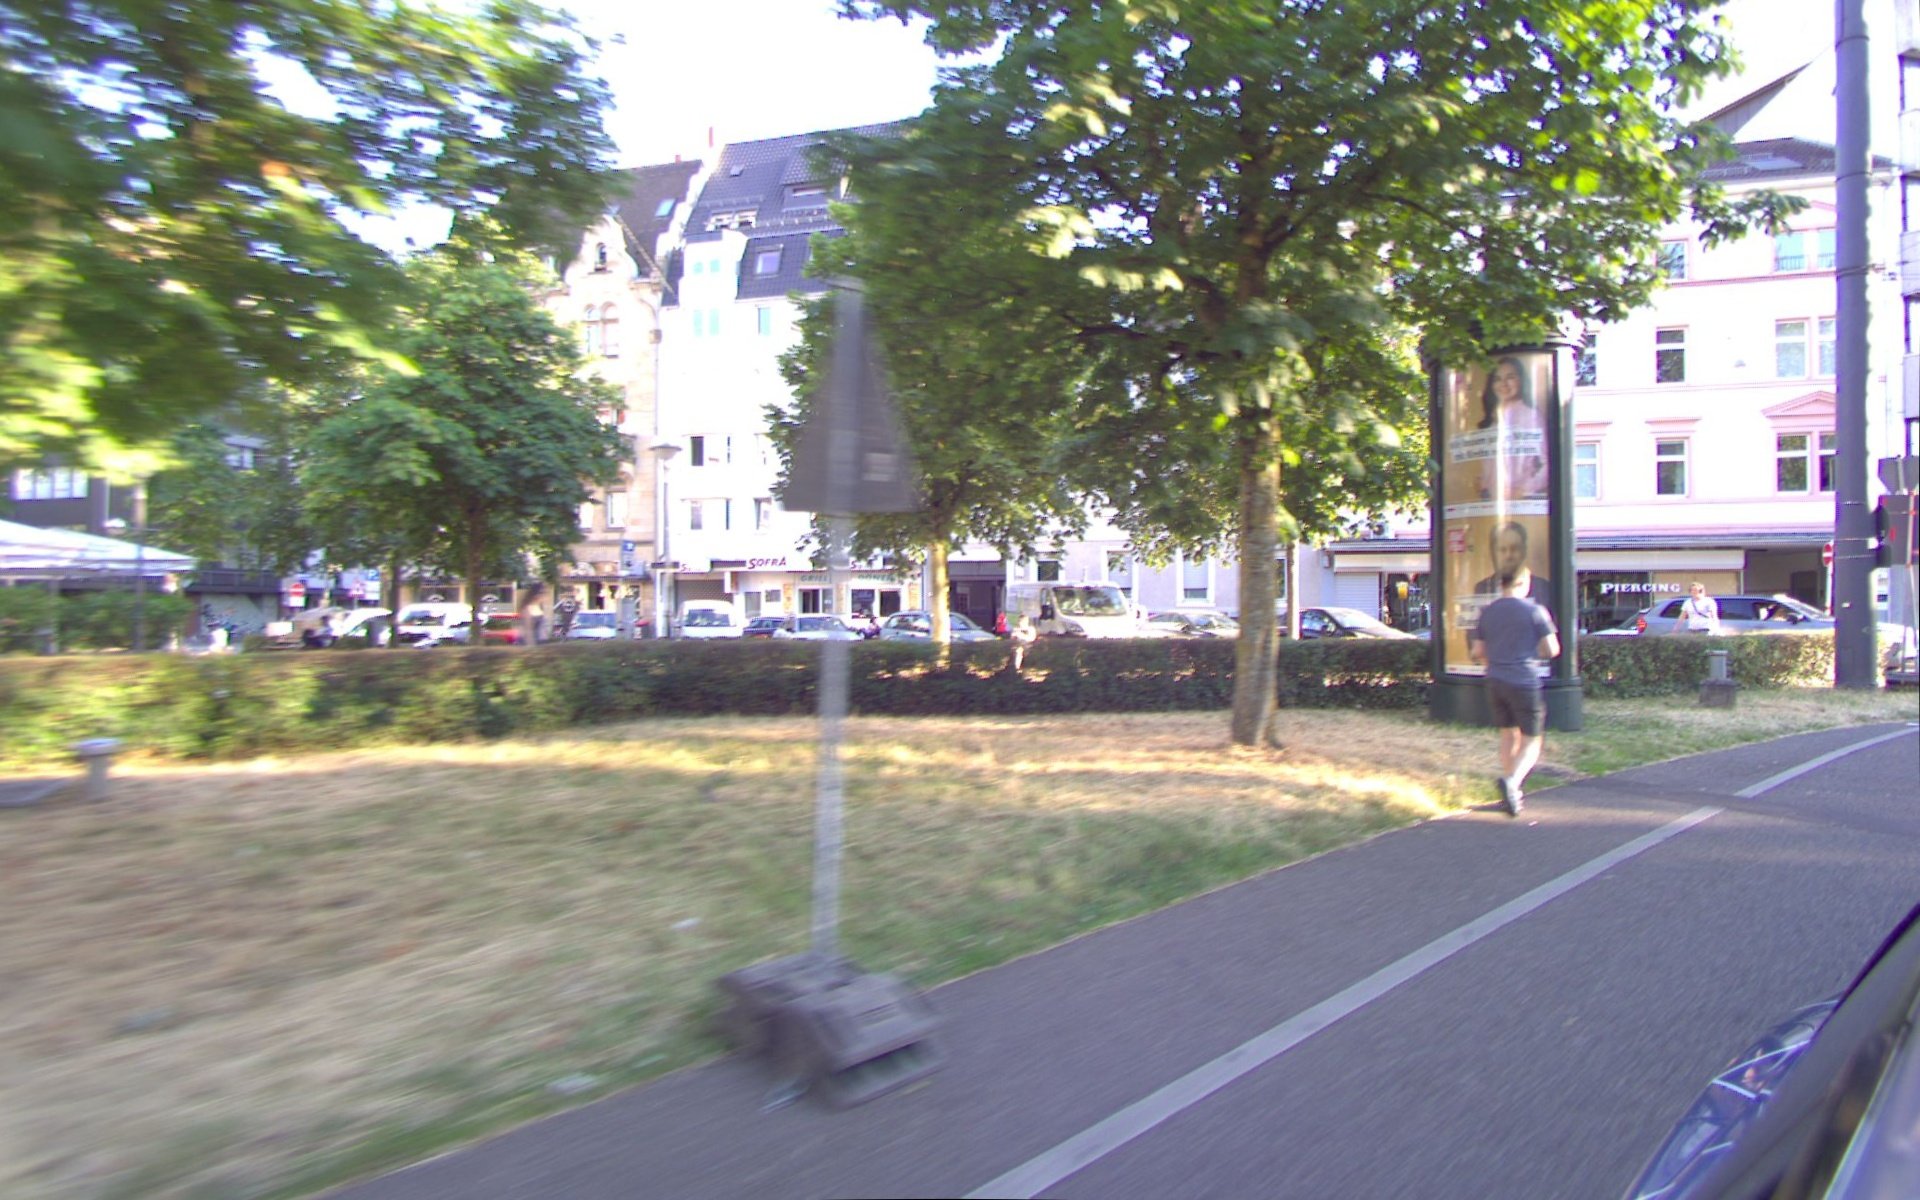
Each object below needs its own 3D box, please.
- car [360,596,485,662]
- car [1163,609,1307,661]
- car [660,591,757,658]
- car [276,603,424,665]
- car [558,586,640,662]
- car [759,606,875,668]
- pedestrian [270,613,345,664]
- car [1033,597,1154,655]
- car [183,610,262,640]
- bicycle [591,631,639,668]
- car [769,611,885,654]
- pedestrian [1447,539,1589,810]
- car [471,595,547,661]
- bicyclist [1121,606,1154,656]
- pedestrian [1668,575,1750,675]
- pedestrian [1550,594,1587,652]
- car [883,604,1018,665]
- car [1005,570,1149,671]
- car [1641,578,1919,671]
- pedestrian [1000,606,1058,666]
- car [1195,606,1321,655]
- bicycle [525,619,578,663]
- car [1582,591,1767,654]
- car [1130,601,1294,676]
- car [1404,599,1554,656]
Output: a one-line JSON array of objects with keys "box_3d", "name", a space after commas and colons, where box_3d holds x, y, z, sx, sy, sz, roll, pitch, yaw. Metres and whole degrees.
[{"box_3d": [-15.944, 0.858, 30.257, 1.874, 1.796, 4.003, -1, -1, -5], "name": "car"}, {"box_3d": [8.397, 1.080, 31.045, 4.103, 1.505, 1.927, -1, -1, 16], "name": "car"}, {"box_3d": [-7.126, 0.675, 28.434, 1.958, 1.728, 4.006, 0, -2, -24], "name": "car"}, {"box_3d": [-18.882, 1.038, 31.538, 1.880, 1.796, 3.990, -1, -1, 8], "name": "car"}, {"box_3d": [-10.593, 0.689, 29.528, 1.958, 2.040, 4.006, 0, -2, -24], "name": "car"}, {"box_3d": [-3.907, 0.969, 27.143, 1.959, 1.505, 4.005, 0, -2, -26], "name": "car"}, {"box_3d": [-16.856, 0.974, 26.160, 1.029, 1.266, 1.431, -2, -2, 43], "name": "pedestrian"}, {"box_3d": [4.735, 0.909, 35.708, 3.944, 1.909, 1.943, -1, 1, 16], "name": "car"}, {"box_3d": [-37.338, 1.259, 51.339, 1.846, 1.439, 3.557, -1, 0, -10], "name": "car"}, {"box_3d": [-8.042, 1.148, 23.625, 0.439, 0.789, 1.270, -1, 0, 13], "name": "bicycle"}, {"box_3d": [-5.051, 1.238, 38.696, 3.944, 1.514, 1.943, -1, 1, 16], "name": "car"}, {"box_3d": [3.847, 0.489, 6.999, 0.630, 1.766, 0.590, 1, -1, -25], "name": "pedestrian"}, {"box_3d": [-13.136, 0.808, 29.640, 1.873, 1.796, 4.006, 0, -1, -22], "name": "car"}, {"box_3d": [5.890, 1.031, 33.608, 0.995, 1.635, 0.718, -1, -2, 15], "name": "bicyclist"}, {"box_3d": [13.555, 0.446, 18.327, 0.957, 1.753, 0.728, 0, -2, -18], "name": "pedestrian"}, {"box_3d": [19.163, 0.728, 31.871, 0.783, 1.823, 0.636, -1, -2, 15], "name": "pedestrian"}, {"box_3d": [-0.342, 0.870, 26.116, 1.959, 1.416, 4.005, 0, -1, -26], "name": "car"}, {"box_3d": [2.798, 0.514, 25.587, 2.051, 2.269, 4.889, -1, -1, -13], "name": "car"}, {"box_3d": [17.774, 0.536, 21.865, 1.964, 1.794, 4.704, 0, -2, -39], "name": "car"}, {"box_3d": [1.494, 0.753, 21.747, 0.948, 1.242, 1.363, -1, -1, 17], "name": "pedestrian"}, {"box_3d": [10.002, 1.017, 34.223, 3.941, 1.511, 1.818, -1, 1, 14], "name": "car"}, {"box_3d": [-10.002, 0.986, 24.796, 0.320, 1.008, 1.465, -1, 0, 19], "name": "bicycle"}, {"box_3d": [21.861, 0.681, 31.152, 4.168, 1.807, 1.924, -1, 0, 15], "name": "car"}, {"box_3d": [5.927, 0.886, 24.322, 1.911, 1.625, 4.007, 0, -1, -19], "name": "car"}, {"box_3d": [16.567, 0.863, 32.527, 3.946, 1.660, 1.990, -1, 2, 18], "name": "car"}]
